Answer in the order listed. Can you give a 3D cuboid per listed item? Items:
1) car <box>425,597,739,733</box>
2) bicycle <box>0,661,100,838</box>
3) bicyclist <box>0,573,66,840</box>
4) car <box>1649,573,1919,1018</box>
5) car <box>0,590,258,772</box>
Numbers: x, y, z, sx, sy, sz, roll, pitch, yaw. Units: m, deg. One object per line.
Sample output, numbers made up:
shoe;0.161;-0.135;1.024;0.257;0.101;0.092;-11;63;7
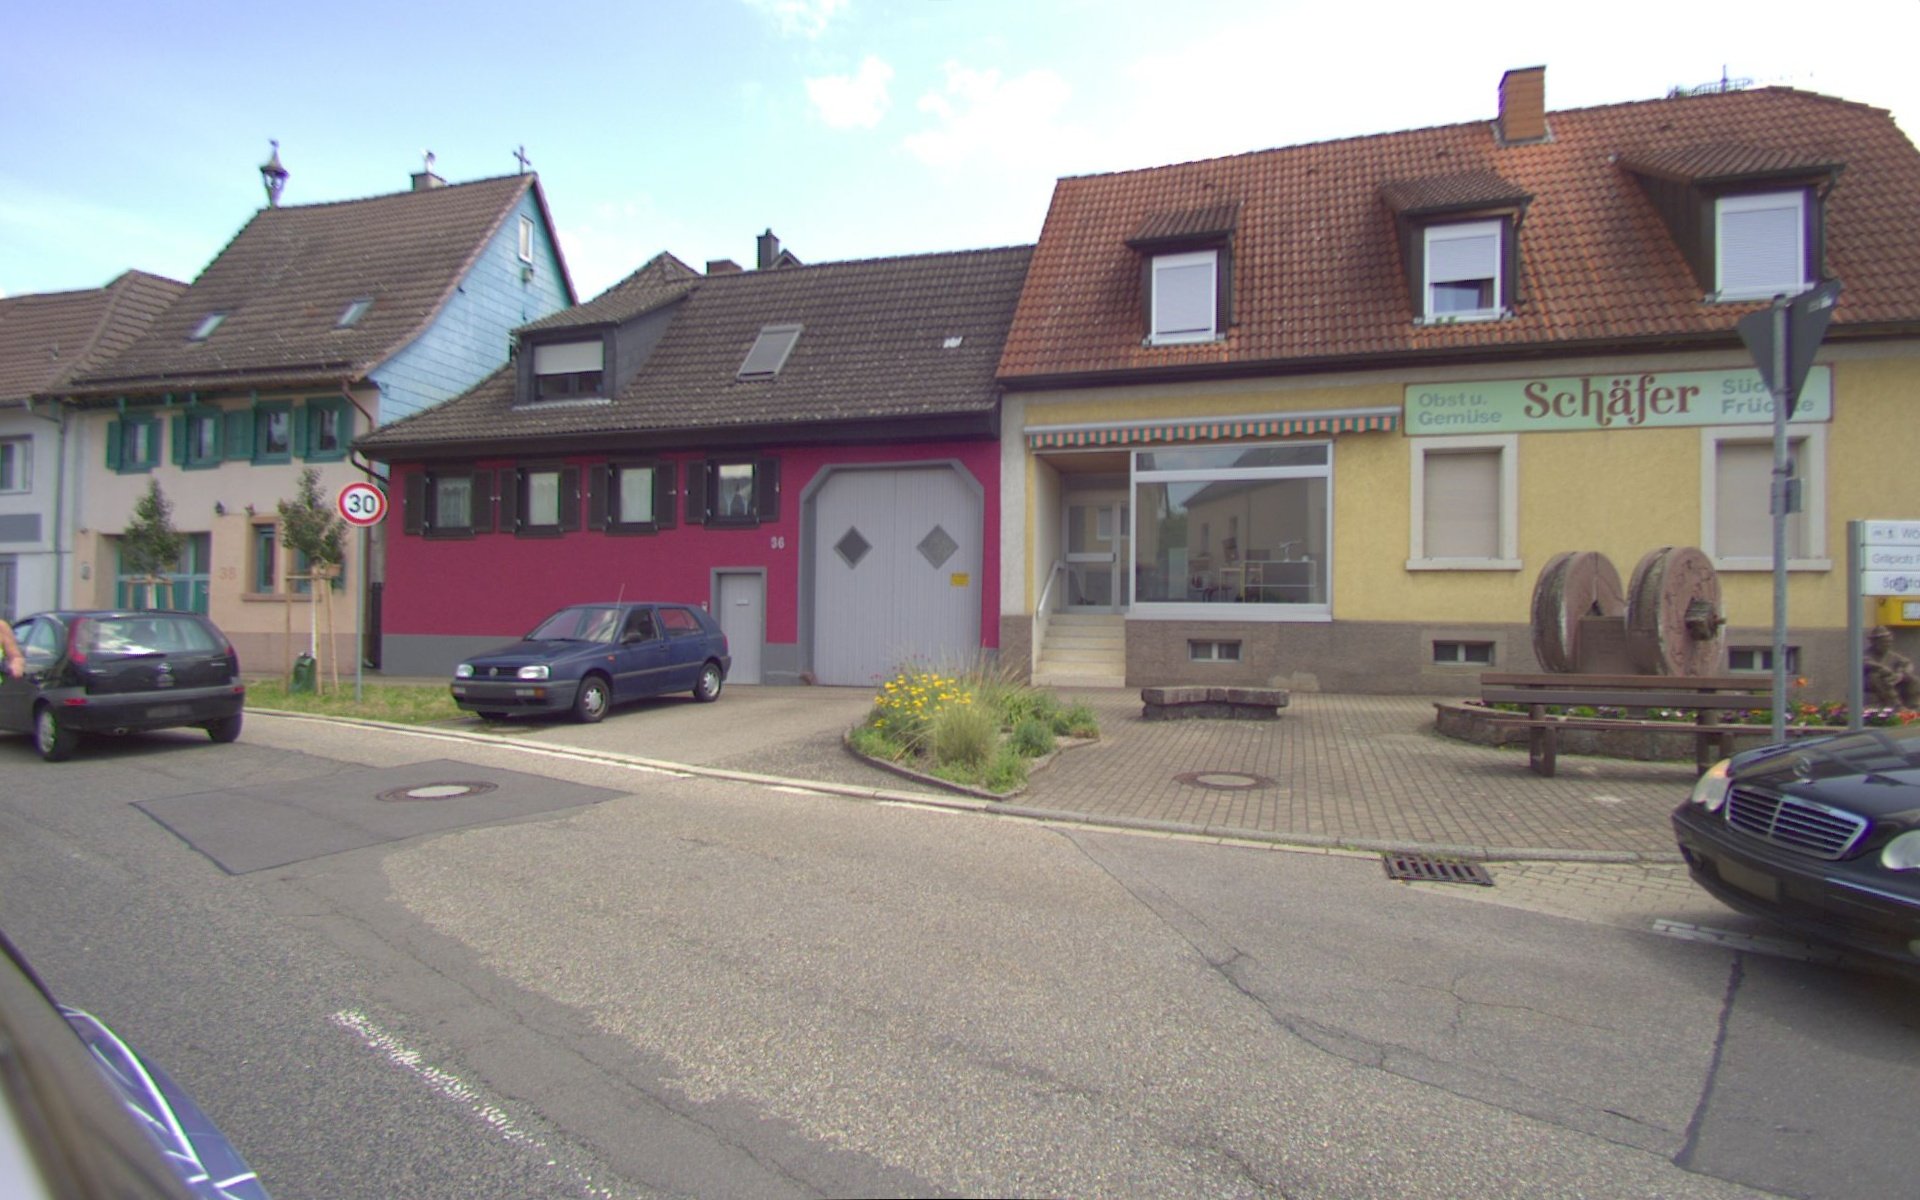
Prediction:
car;-4.672;0.710;13.162;1.708;1.475;3.954;0;0;20
bicycle;-6.580;0.934;6.564;1.916;1.019;0.925;-1;-1;29
bicyclist;-6.500;0.672;6.524;0.758;1.701;0.901;1;0;30
car;5.406;0.668;3.548;4.579;1.422;1.811;1;0;6
car;-9.127;0.700;10.539;3.840;1.551;1.490;1;1;30
